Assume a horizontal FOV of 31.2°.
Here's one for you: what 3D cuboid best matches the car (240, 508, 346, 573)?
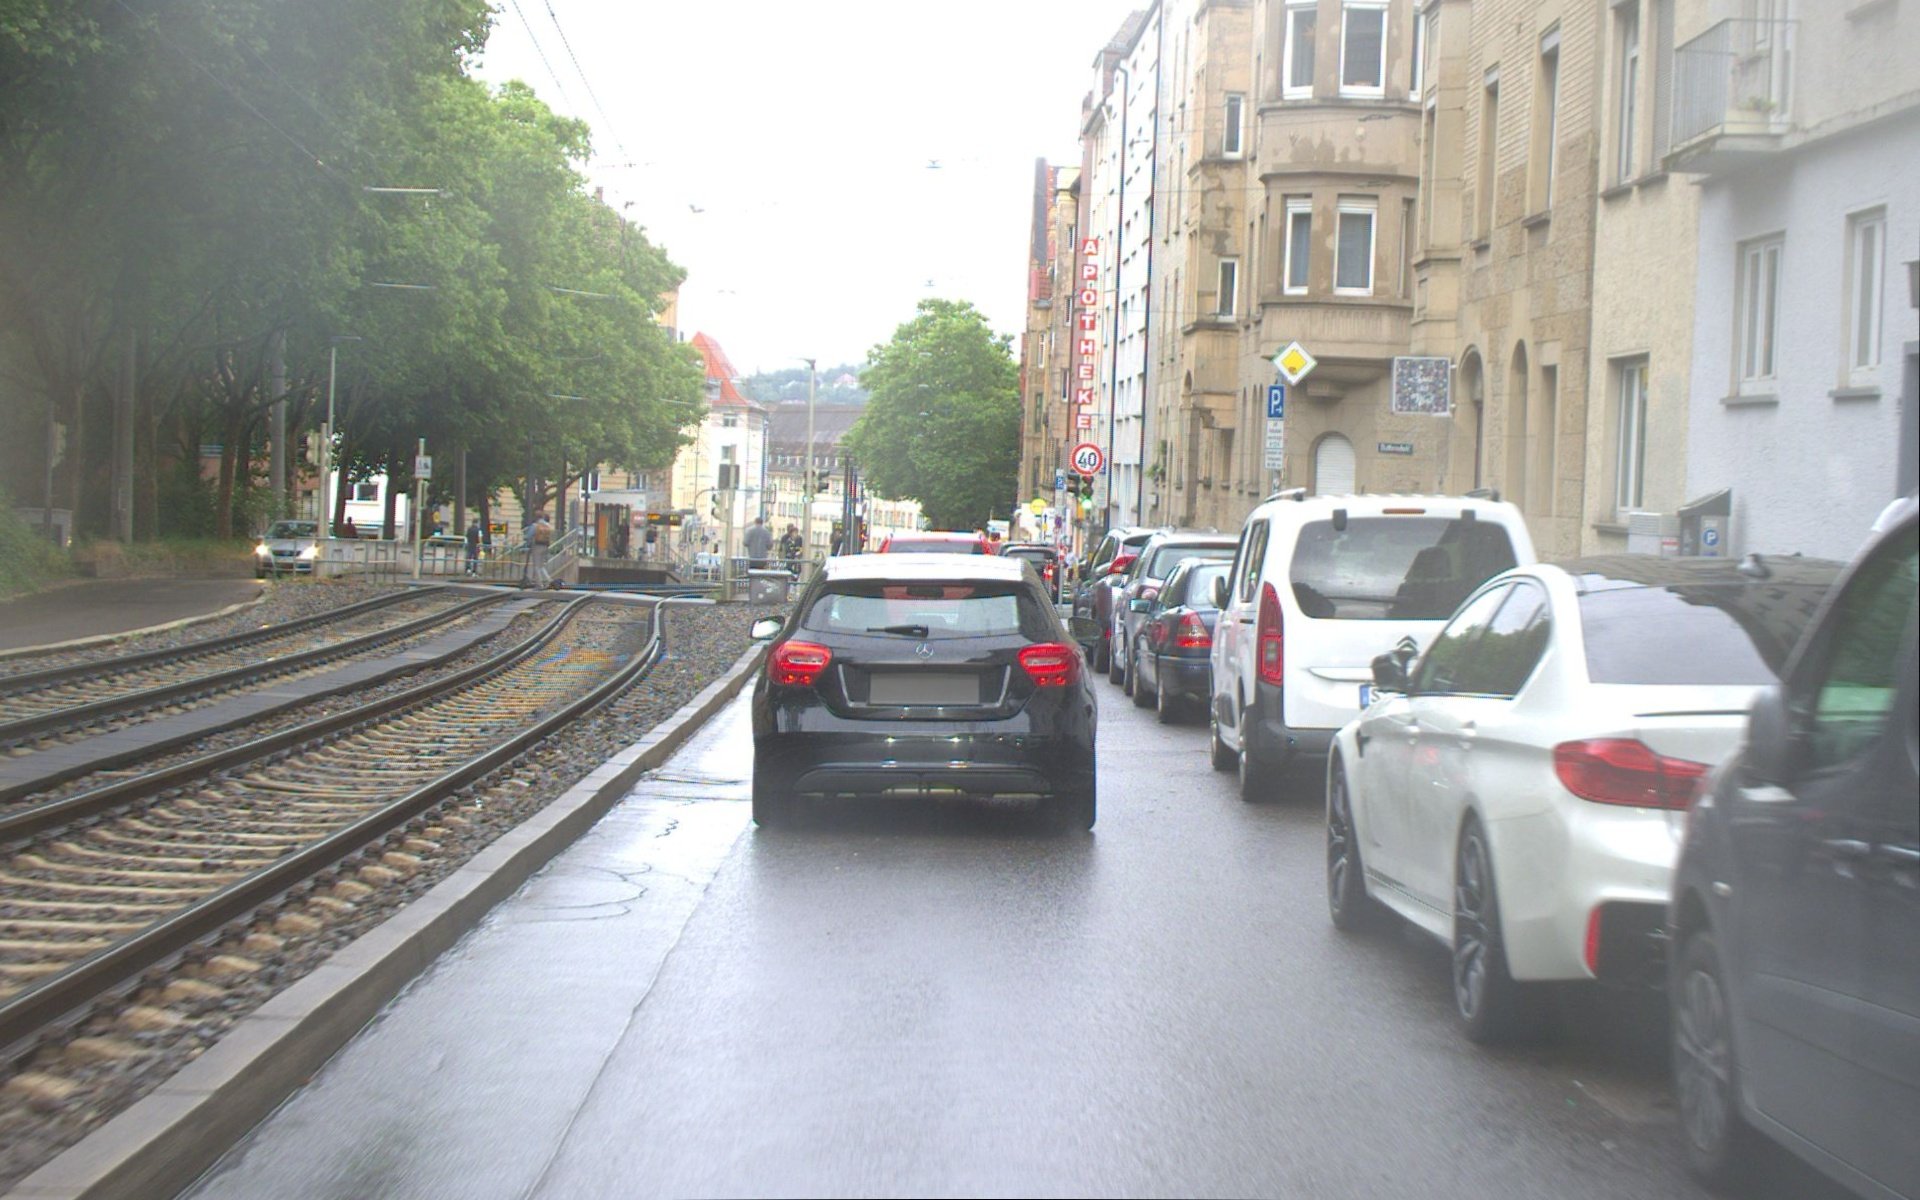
[{"bbox_3d":[-16.360,-1.461,84.498,1.817,1.499,4.634,2,1,-2],"label":"car"}]

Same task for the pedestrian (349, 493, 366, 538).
[{"bbox_3d":[-23.691,-3.324,135.234,0.553,1.739,0.606,1,0,-1],"label":"pedestrian"}]

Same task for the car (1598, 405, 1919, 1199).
[{"bbox_3d":[2.573,0.532,6.653,1.790,1.759,4.212,0,1,-1],"label":"car"}]

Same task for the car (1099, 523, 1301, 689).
[{"bbox_3d":[2.354,0.023,34.544,1.693,1.524,4.000,2,1,0],"label":"car"}]

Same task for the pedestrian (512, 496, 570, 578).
[{"bbox_3d":[-8.987,-1.357,73.731,1.054,1.713,0.904,2,1,1],"label":"pedestrian"}]

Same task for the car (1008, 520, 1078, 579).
[{"bbox_3d":[2.225,-1.392,93.320,1.759,1.573,4.000,0,1,-1],"label":"car"}]

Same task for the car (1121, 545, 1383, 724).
[{"bbox_3d":[2.417,0.235,29.448,1.717,1.342,4.462,2,1,-1],"label":"car"}]

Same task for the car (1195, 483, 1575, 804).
[{"bbox_3d":[2.520,0.198,21.392,1.828,1.744,4.467,1,1,1],"label":"car"}]

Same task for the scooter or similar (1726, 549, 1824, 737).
[{"bbox_3d":[5.759,0.288,24.341,0.387,1.293,1.171,1,1,0],"label":"scooter or similar"}]

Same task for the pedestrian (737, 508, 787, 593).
[{"bbox_3d":[-4.662,-1.164,80.933,1.137,1.991,1.173,0,1,-4],"label":"pedestrian"}]

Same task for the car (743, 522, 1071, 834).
[{"bbox_3d":[-0.295,0.353,18.715,1.580,1.499,3.575,1,1,-1],"label":"car"}]

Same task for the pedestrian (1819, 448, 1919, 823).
[{"bbox_3d":[4.835,0.159,17.314,0.746,1.827,1.039,-1,1,1],"label":"pedestrian"}]

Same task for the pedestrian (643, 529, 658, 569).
[{"bbox_3d":[-13.528,-2.250,150.478,0.518,1.711,0.551,3,1,0],"label":"pedestrian"}]

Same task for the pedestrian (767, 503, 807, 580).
[{"bbox_3d":[-3.705,-1.251,73.545,0.806,1.628,0.892,0,1,0],"label":"pedestrian"}]

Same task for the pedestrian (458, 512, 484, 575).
[{"bbox_3d":[-13.960,-1.612,98.157,0.534,1.748,0.607,3,1,0],"label":"pedestrian"}]

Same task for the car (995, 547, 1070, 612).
[{"bbox_3d":[1.851,-0.556,88.769,1.827,1.612,3.864,0,1,0],"label":"car"}]

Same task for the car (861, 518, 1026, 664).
[{"bbox_3d":[-0.201,-0.136,40.007,1.785,1.575,4.000,1,1,-1],"label":"car"}]

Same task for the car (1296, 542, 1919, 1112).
[{"bbox_3d":[2.395,0.572,11.543,1.871,1.450,4.903,1,1,-2],"label":"car"}]

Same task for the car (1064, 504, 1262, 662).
[{"bbox_3d":[2.289,-0.230,39.865,1.766,1.662,4.333,2,1,-3],"label":"car"}]
